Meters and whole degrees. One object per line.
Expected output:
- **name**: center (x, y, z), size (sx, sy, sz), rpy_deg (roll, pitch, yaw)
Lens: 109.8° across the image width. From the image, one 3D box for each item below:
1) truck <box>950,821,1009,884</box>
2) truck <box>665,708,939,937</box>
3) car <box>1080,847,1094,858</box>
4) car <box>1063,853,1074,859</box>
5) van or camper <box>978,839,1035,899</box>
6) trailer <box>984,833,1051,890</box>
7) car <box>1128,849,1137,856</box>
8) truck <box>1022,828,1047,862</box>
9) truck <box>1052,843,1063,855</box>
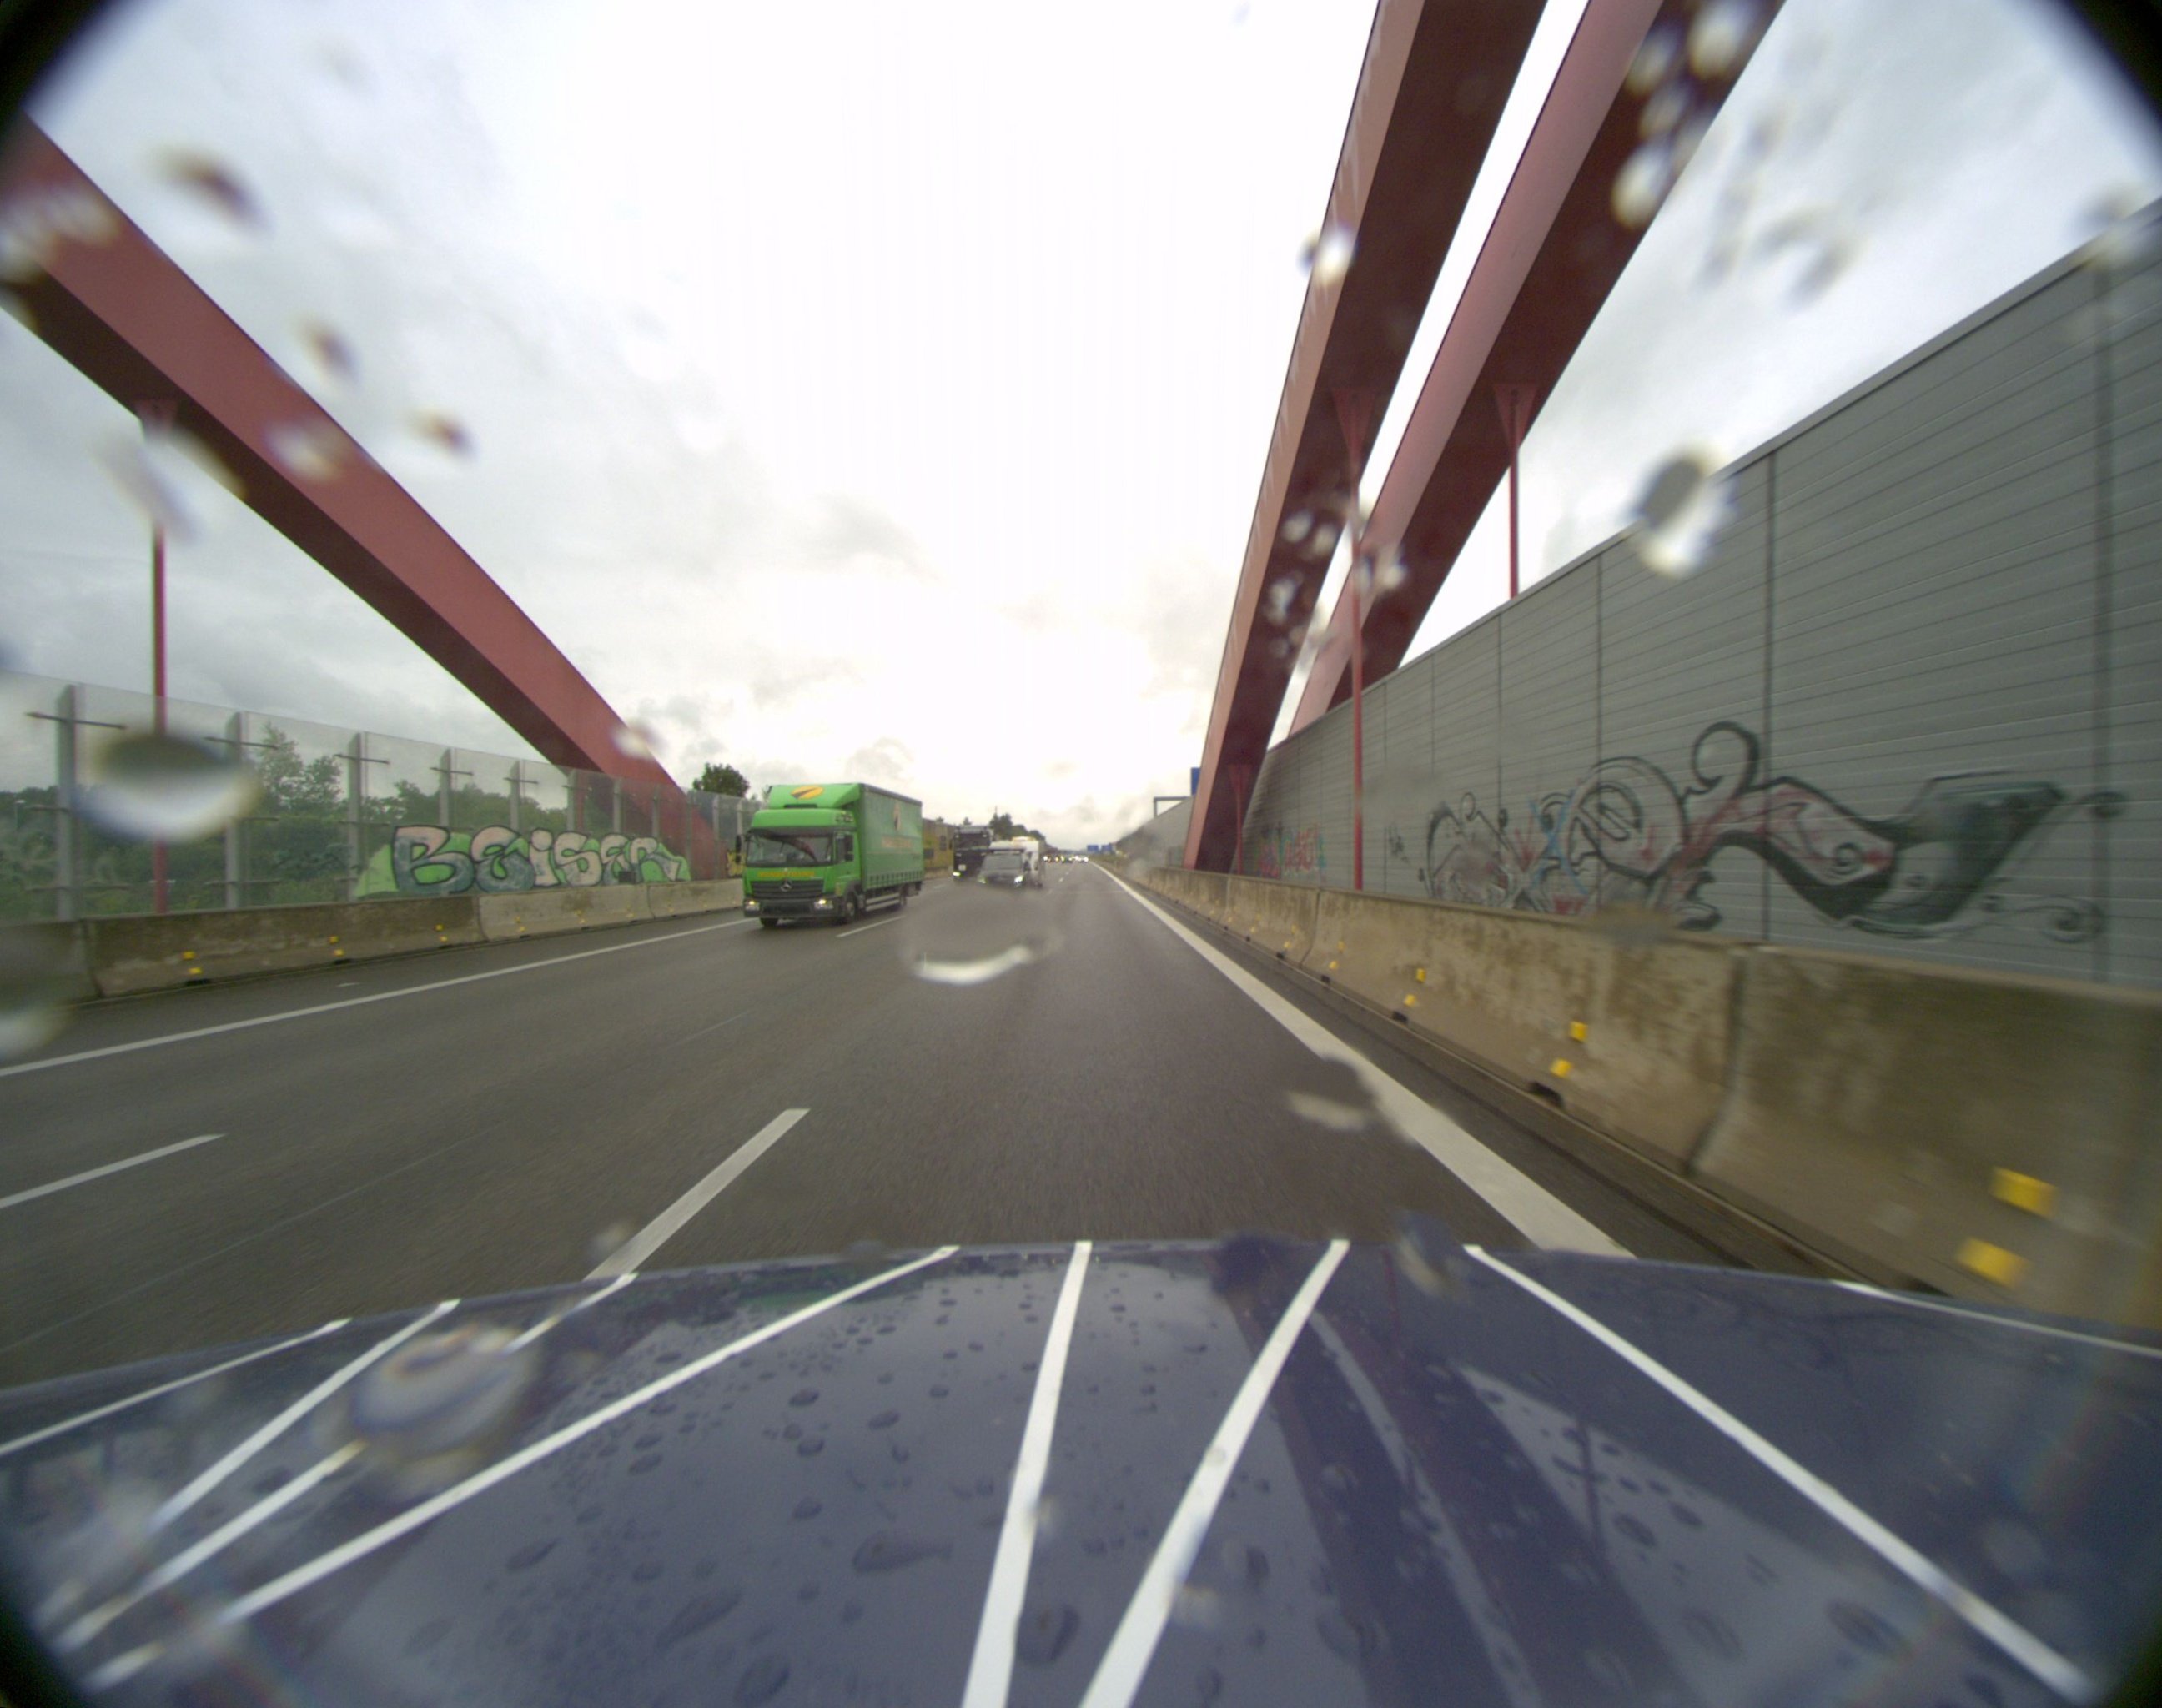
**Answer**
- **truck**: center (-6.985, -0.135, 54.109), size (2.820, 3.927, 12.710), rpy_deg (0, 1, -2)
- **truck**: center (-7.607, -0.782, 23.493), size (4.007, 5.235, 11.218), rpy_deg (-2, 1, 1)
- **car**: center (1.340, -0.369, 162.701), size (2.680, 2.340, 5.806), rpy_deg (-1, 0, -3)
- **car**: center (-2.511, 0.383, 150.847), size (2.061, 1.020, 3.437), rpy_deg (-2, 1, -1)
- **van or camper**: center (-3.047, 0.582, 32.166), size (1.895, 2.256, 5.678), rpy_deg (-2, 0, -1)
- **trailer**: center (-3.081, 0.340, 38.773), size (2.728, 2.627, 7.511), rpy_deg (-1, 0, 0)
- **car**: center (14.401, -0.389, 212.966), size (2.219, 2.002, 7.058), rpy_deg (-2, 0, 0)
- **truck**: center (-5.797, -1.108, 95.877), size (2.693, 3.935, 9.324), rpy_deg (-2, 1, -2)
- **truck**: center (-6.137, -1.243, 198.381), size (2.617, 3.218, 4.632), rpy_deg (-1, 0, -1)
